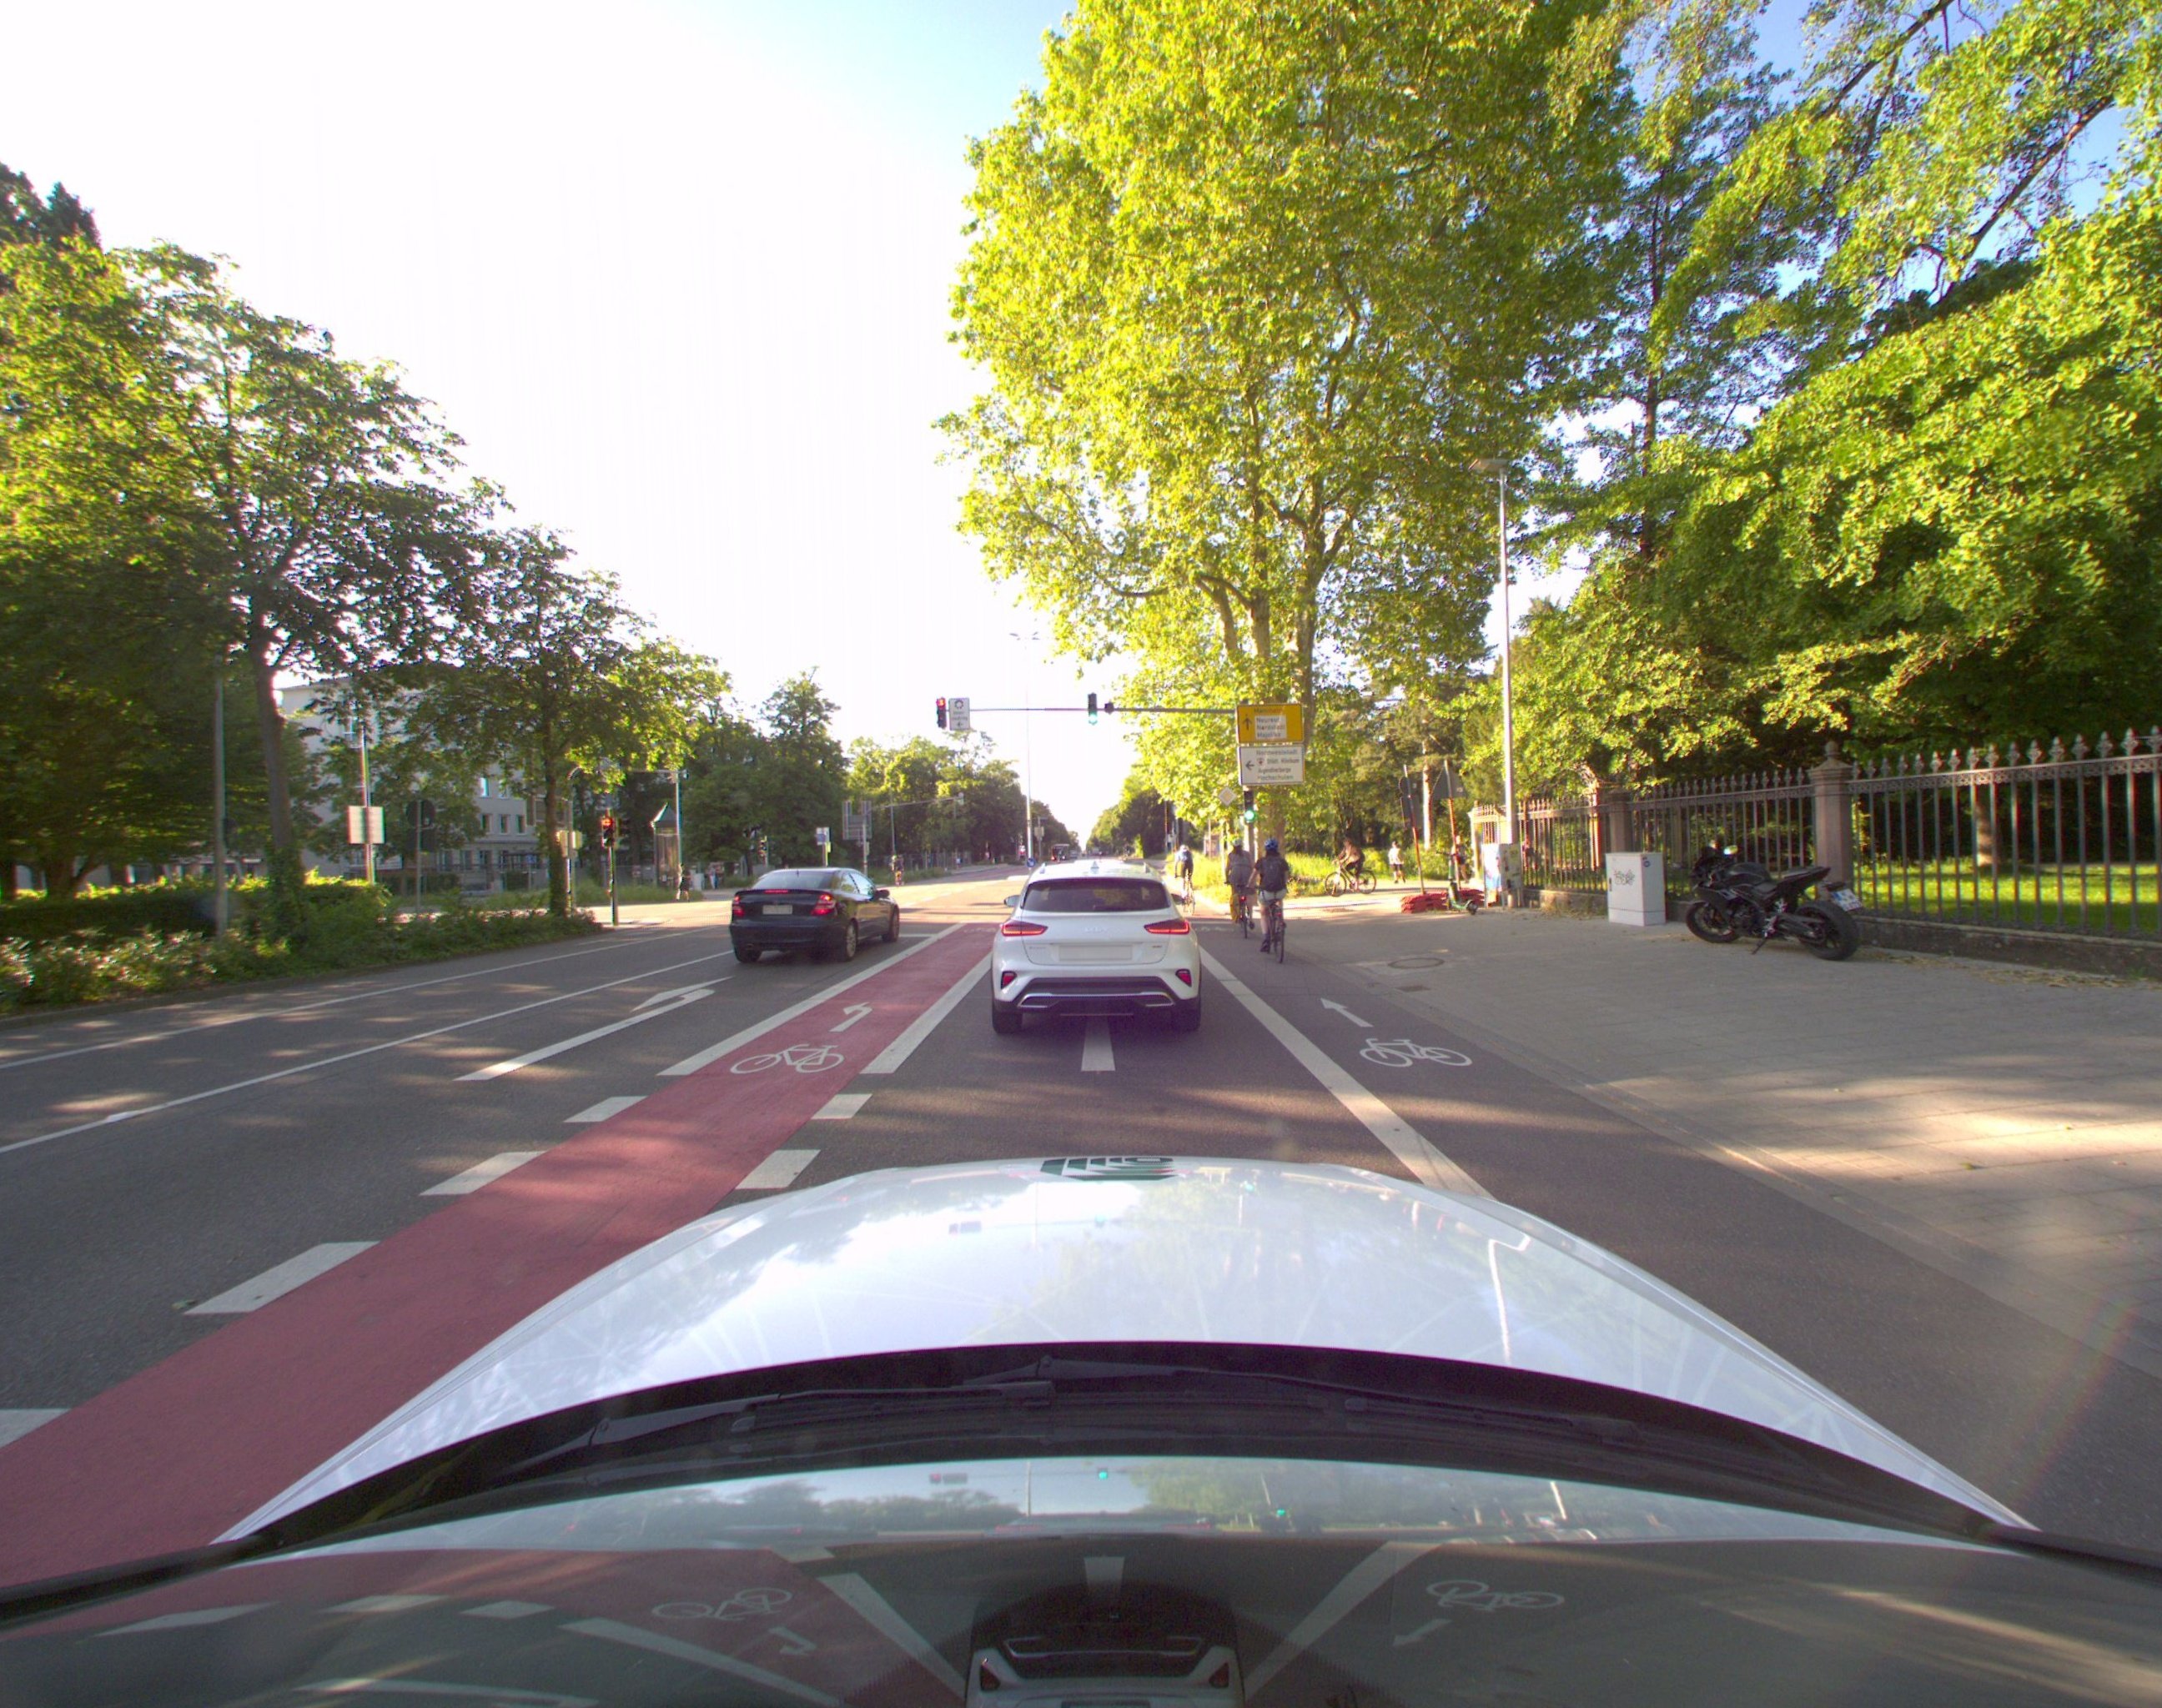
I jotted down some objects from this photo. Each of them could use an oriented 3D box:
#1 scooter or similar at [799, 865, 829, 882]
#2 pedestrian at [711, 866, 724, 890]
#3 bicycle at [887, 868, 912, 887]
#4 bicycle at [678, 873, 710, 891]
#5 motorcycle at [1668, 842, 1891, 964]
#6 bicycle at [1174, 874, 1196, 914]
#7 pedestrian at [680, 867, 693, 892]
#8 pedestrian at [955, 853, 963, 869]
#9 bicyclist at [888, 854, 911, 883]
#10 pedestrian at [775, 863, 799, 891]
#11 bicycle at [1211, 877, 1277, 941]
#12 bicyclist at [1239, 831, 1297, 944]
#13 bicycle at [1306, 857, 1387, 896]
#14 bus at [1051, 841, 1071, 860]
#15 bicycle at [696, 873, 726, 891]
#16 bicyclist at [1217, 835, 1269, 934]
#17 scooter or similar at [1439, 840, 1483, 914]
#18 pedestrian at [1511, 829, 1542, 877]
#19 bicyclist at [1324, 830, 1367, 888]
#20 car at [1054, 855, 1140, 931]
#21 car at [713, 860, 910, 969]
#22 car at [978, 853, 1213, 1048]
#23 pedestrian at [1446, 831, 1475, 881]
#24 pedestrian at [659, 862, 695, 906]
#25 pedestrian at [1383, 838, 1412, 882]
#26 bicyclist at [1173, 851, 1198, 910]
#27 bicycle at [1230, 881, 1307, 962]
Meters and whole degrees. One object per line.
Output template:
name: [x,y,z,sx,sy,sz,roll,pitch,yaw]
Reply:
scooter or similar: [-18.633,1.371,56.930,0.703,1.124,1.933,-1,-1,34]
pedestrian: [-24.186,1.611,54.200,0.628,1.581,0.444,-1,-1,-8]
bicycle: [-10.404,1.326,46.720,0.660,0.989,2.507,-3,0,4]
bicycle: [-25.924,1.896,54.608,1.859,1.148,0.442,-1,-1,-6]
motorcycle: [7.436,0.477,8.845,0.504,1.131,2.170,-4,-1,0]
bicycle: [2.694,1.012,21.112,0.400,0.956,1.551,-1,-1,1]
pedestrian: [-26.299,1.680,54.251,0.628,1.642,0.444,-1,-1,-8]
pedestrian: [-14.079,0.800,94.249,0.782,1.785,0.751,-1,-1,2]
bicyclist: [-10.424,0.838,46.797,0.871,1.608,1.189,-3,0,4]
pedestrian: [-17.547,1.388,48.655,1.086,1.603,0.999,-3,0,-5]
bicycle: [3.025,0.984,15.349,0.755,1.013,2.569,0,0,0]
bicyclist: [2.723,0.475,11.919,0.663,1.602,0.721,-1,0,0]
bicycle: [7.603,0.643,23.332,2.094,0.976,0.747,-3,0,-11]
bus: [-4.135,-0.732,168.311,3.731,3.673,13.234,-3,0,-1]
bicycle: [-24.686,1.860,54.351,1.859,1.148,0.290,-1,-1,-6]
bicyclist: [3.025,0.548,15.286,0.750,1.796,1.165,0,0,0]
scooter or similar: [7.182,0.417,15.435,0.227,1.327,1.172,-3,0,0]
pedestrian: [16.172,-0.036,29.589,0.819,1.681,0.696,-2,-1,15]
bicyclist: [7.561,0.143,23.330,0.847,1.613,0.733,-3,0,-11]
car: [0.342,0.813,18.578,1.723,1.483,3.516,-3,0,0]
car: [-4.237,0.867,13.581,1.698,1.405,4.266,-3,0,2]
car: [0.130,0.756,8.386,1.815,1.480,3.936,-1,0,0]
pedestrian: [13.176,0.081,28.268,0.686,1.699,0.644,-1,-1,1]
pedestrian: [-19.073,1.393,38.486,0.990,2.014,1.193,-1,-1,7]
pedestrian: [11.198,0.227,28.800,0.810,1.518,0.922,-1,-1,28]
bicyclist: [2.705,0.682,21.114,0.552,1.478,0.717,-1,-1,1]
bicycle: [2.730,0.946,12.053,0.666,1.009,2.081,-1,0,0]
